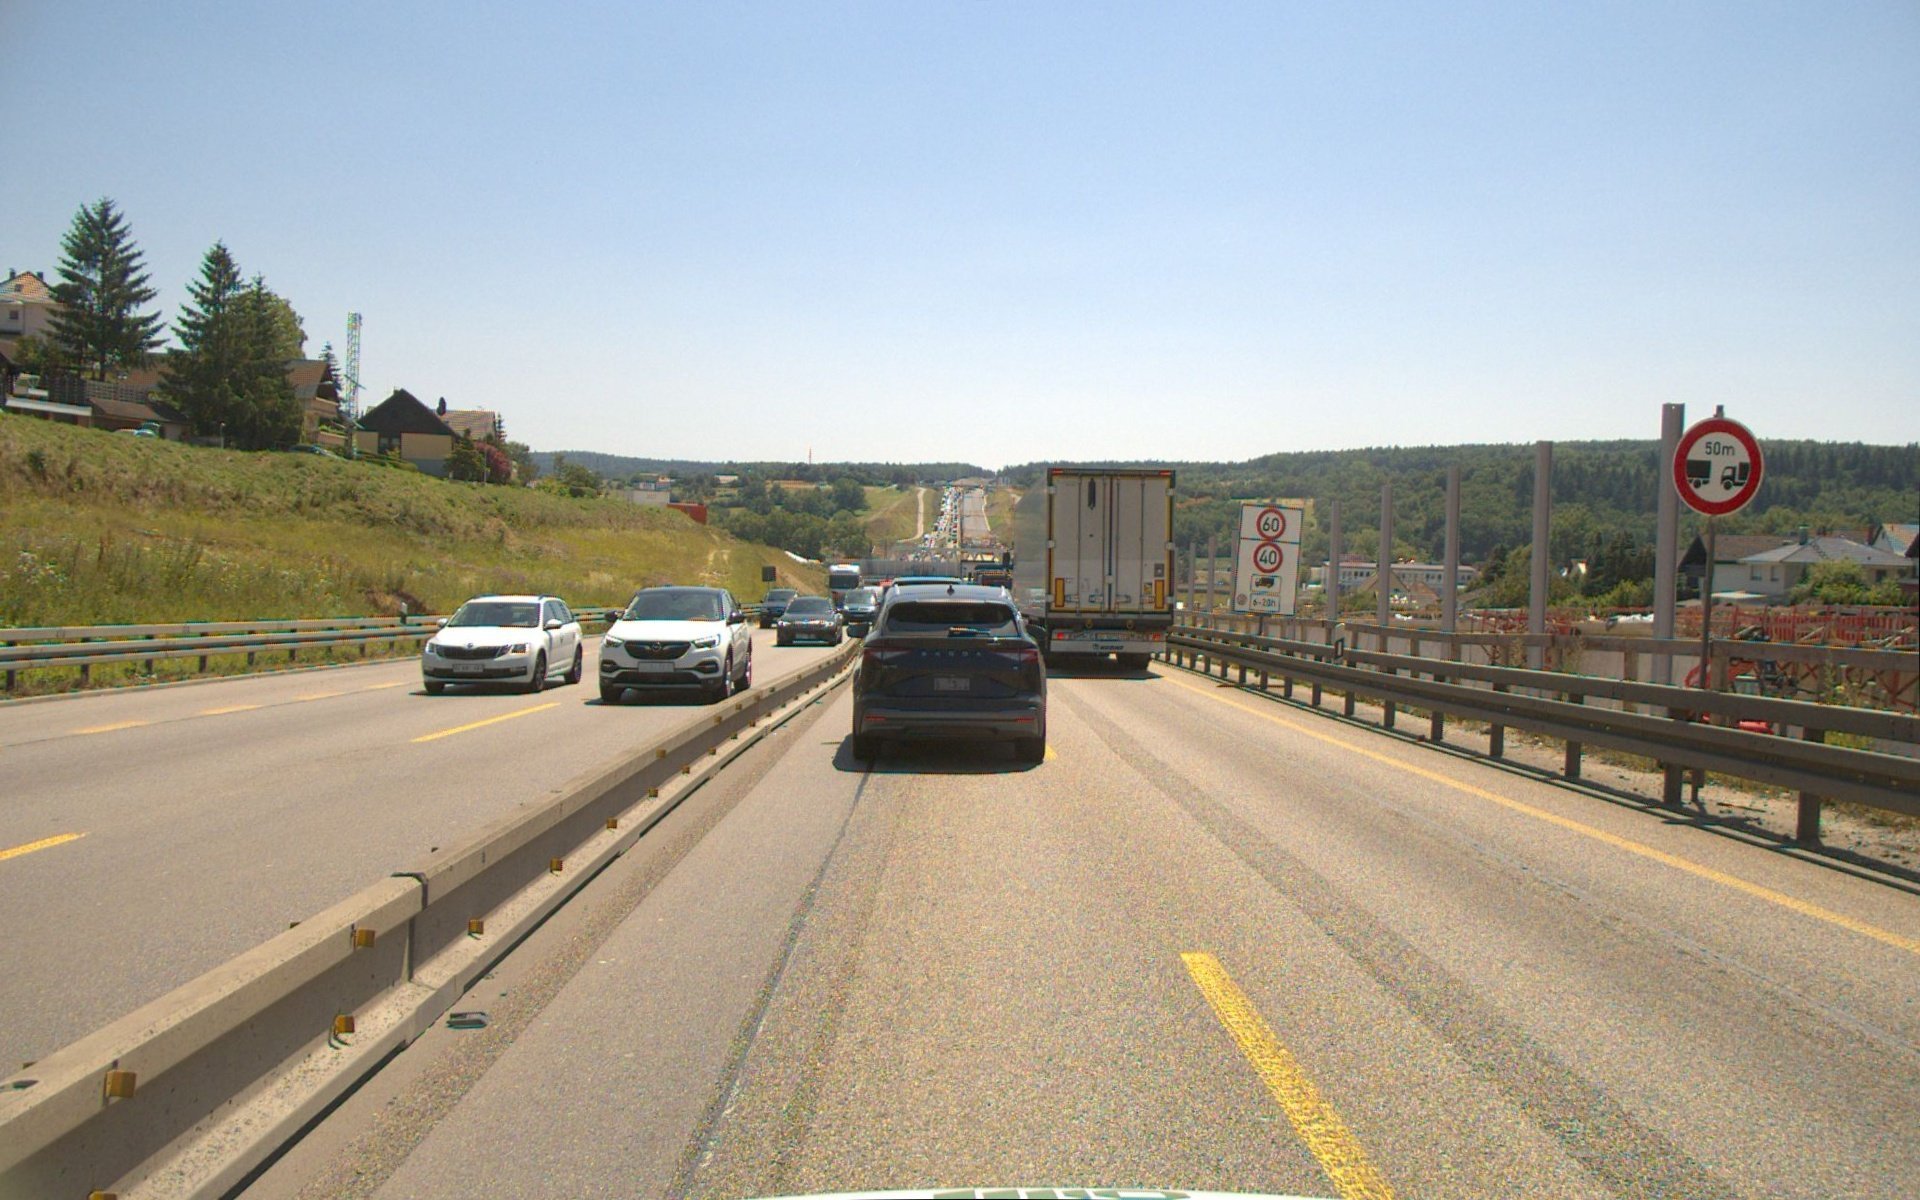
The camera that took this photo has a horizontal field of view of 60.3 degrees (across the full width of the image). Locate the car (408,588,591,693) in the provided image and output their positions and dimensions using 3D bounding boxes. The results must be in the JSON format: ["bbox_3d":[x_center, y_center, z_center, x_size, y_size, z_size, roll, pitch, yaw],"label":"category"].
[{"bbox_3d":[-7.220,0.583,26.420,1.767,1.523,4.598,0,0,-2],"label":"car"}]

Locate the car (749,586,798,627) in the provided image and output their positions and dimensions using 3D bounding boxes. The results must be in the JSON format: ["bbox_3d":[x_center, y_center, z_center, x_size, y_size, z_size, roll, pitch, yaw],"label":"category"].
[{"bbox_3d":[-8.492,0.294,75.492,1.791,1.797,4.496,0,0,-1],"label":"car"}]

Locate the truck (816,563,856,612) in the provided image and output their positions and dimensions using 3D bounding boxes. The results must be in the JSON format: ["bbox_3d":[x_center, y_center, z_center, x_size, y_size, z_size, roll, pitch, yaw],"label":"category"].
[{"bbox_3d":[-9.668,-0.957,129.674,2.723,3.737,6.275,1,0,-1],"label":"truck"}]

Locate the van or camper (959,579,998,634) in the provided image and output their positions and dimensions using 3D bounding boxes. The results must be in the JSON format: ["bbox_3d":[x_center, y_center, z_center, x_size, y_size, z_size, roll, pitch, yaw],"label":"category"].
[{"bbox_3d":[1.172,0.471,103.504,2.339,3.338,6.469,0,-1,1],"label":"van or camper"}]

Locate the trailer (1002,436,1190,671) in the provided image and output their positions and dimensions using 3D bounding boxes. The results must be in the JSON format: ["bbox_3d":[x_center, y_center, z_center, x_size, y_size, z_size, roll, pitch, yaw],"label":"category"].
[{"bbox_3d":[2.854,-0.971,39.104,3.116,4.592,13.106,1,0,-1],"label":"trailer"}]

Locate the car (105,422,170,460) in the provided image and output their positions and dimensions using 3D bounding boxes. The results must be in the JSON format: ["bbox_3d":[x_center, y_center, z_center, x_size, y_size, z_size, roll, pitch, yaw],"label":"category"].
[{"bbox_3d":[-53.341,-10.295,107.343,1.951,2.049,4.002,1,-1,4],"label":"car"}]

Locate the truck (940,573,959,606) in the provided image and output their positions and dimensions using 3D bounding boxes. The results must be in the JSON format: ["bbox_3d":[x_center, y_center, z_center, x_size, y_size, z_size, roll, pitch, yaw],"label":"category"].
[{"bbox_3d":[-1.471,-1.404,231.468,2.586,4.267,9.281,1,-1,-1],"label":"truck"}]

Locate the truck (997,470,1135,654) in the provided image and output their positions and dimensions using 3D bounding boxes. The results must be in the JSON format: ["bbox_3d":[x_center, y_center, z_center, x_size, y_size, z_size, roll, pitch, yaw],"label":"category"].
[{"bbox_3d":[2.765,-0.982,45.603,3.116,4.592,8.164,1,0,-1],"label":"truck"}]

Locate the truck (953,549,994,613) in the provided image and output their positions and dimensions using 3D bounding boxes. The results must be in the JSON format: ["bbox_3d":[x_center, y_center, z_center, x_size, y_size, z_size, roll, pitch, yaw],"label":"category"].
[{"bbox_3d":[0.964,-1.352,128.445,2.794,4.543,11.913,1,-1,-1],"label":"truck"}]

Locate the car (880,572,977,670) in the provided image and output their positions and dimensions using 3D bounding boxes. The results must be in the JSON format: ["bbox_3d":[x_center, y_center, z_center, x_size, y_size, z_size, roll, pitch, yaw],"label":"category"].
[{"bbox_3d":[-0.680,0.457,35.675,1.953,1.959,4.506,1,-1,-1],"label":"car"}]

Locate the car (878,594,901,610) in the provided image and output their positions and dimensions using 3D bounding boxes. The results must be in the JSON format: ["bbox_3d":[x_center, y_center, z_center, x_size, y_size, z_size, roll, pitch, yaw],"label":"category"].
[{"bbox_3d":[-6.148,0.164,144.821,1.856,1.439,4.679,0,0,0],"label":"car"}]

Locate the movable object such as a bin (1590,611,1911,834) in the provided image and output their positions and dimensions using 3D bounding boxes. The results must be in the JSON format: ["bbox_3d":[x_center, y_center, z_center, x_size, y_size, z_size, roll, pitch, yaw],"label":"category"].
[{"bbox_3d":[19.043,2.753,40.817,3.162,4.826,9.652,1,-1,-1],"label":"movable object such as a bin"}]

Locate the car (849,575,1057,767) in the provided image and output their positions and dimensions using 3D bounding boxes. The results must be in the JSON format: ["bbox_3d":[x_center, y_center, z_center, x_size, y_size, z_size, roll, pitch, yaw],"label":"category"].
[{"bbox_3d":[-0.066,0.626,16.213,1.765,1.636,3.999,1,0,0],"label":"car"}]

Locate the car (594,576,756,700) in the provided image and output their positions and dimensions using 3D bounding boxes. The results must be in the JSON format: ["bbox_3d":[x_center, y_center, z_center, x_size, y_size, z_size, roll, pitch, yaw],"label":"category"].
[{"bbox_3d":[-4.105,0.514,24.444,1.770,1.668,4.171,0,0,-2],"label":"car"}]

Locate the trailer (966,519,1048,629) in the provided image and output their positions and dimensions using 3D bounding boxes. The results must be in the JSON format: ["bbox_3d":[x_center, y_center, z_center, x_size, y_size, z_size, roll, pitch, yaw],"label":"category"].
[{"bbox_3d":[2.016,-0.962,77.186,3.116,4.592,14.962,1,-1,-1],"label":"trailer"}]

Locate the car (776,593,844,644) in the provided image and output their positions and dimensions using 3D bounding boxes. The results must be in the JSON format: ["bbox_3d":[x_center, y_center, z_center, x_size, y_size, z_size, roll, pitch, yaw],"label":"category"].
[{"bbox_3d":[-4.560,0.538,50.918,1.761,1.492,4.354,0,0,-1],"label":"car"}]

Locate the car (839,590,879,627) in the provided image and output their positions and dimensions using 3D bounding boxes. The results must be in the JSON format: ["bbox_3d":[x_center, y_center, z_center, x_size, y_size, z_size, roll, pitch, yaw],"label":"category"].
[{"bbox_3d":[-5.064,0.432,83.533,1.808,1.809,4.881,0,0,-1],"label":"car"}]

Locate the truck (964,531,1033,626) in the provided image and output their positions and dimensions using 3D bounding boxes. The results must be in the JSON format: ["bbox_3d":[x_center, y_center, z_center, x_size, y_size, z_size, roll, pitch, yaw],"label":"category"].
[{"bbox_3d":[1.875,-0.972,84.234,3.116,4.592,8.163,1,-1,-1],"label":"truck"}]
